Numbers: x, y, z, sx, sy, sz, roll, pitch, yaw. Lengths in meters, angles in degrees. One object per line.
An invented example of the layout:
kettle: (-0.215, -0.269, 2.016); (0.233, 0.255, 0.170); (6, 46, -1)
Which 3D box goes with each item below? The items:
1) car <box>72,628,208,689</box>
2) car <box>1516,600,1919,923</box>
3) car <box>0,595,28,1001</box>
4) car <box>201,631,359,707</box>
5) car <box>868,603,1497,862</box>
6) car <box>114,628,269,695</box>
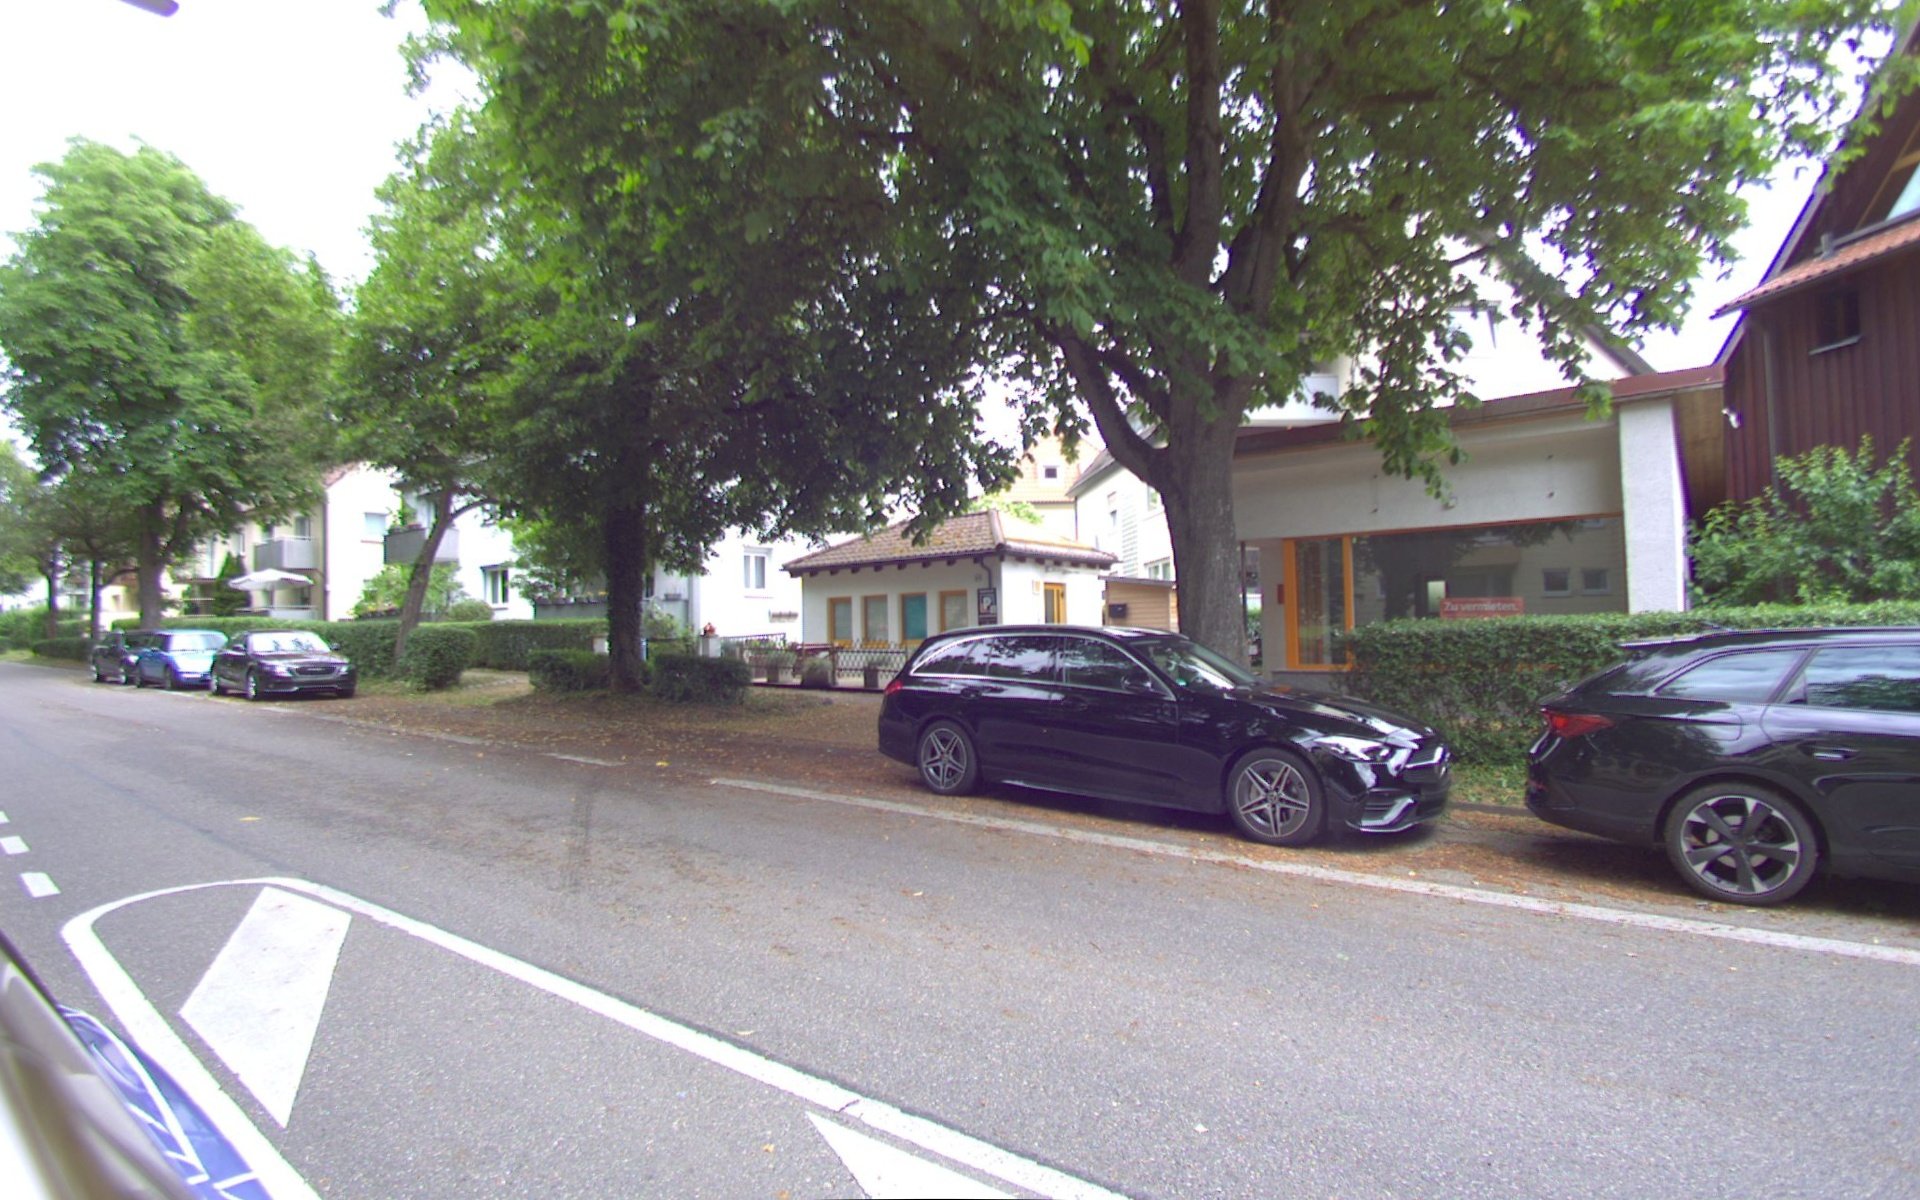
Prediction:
car: (-22.608, 1.561, 27.845); (4.558, 1.545, 1.866); (-2, -3, 37)
car: (5.450, 0.757, 4.985); (4.536, 1.497, 1.674); (-2, -3, 38)
car: (-5.922, 0.776, 4.591); (4.612, 1.511, 1.973); (-2, -3, 41)
car: (-14.224, 1.377, 21.087); (4.169, 1.414, 1.713); (-2, -3, 41)
car: (1.555, 0.865, 8.197); (4.612, 1.511, 1.973); (-2, -3, 41)
car: (-18.919, 1.463, 24.853); (4.558, 1.512, 1.866); (-2, -3, 37)
